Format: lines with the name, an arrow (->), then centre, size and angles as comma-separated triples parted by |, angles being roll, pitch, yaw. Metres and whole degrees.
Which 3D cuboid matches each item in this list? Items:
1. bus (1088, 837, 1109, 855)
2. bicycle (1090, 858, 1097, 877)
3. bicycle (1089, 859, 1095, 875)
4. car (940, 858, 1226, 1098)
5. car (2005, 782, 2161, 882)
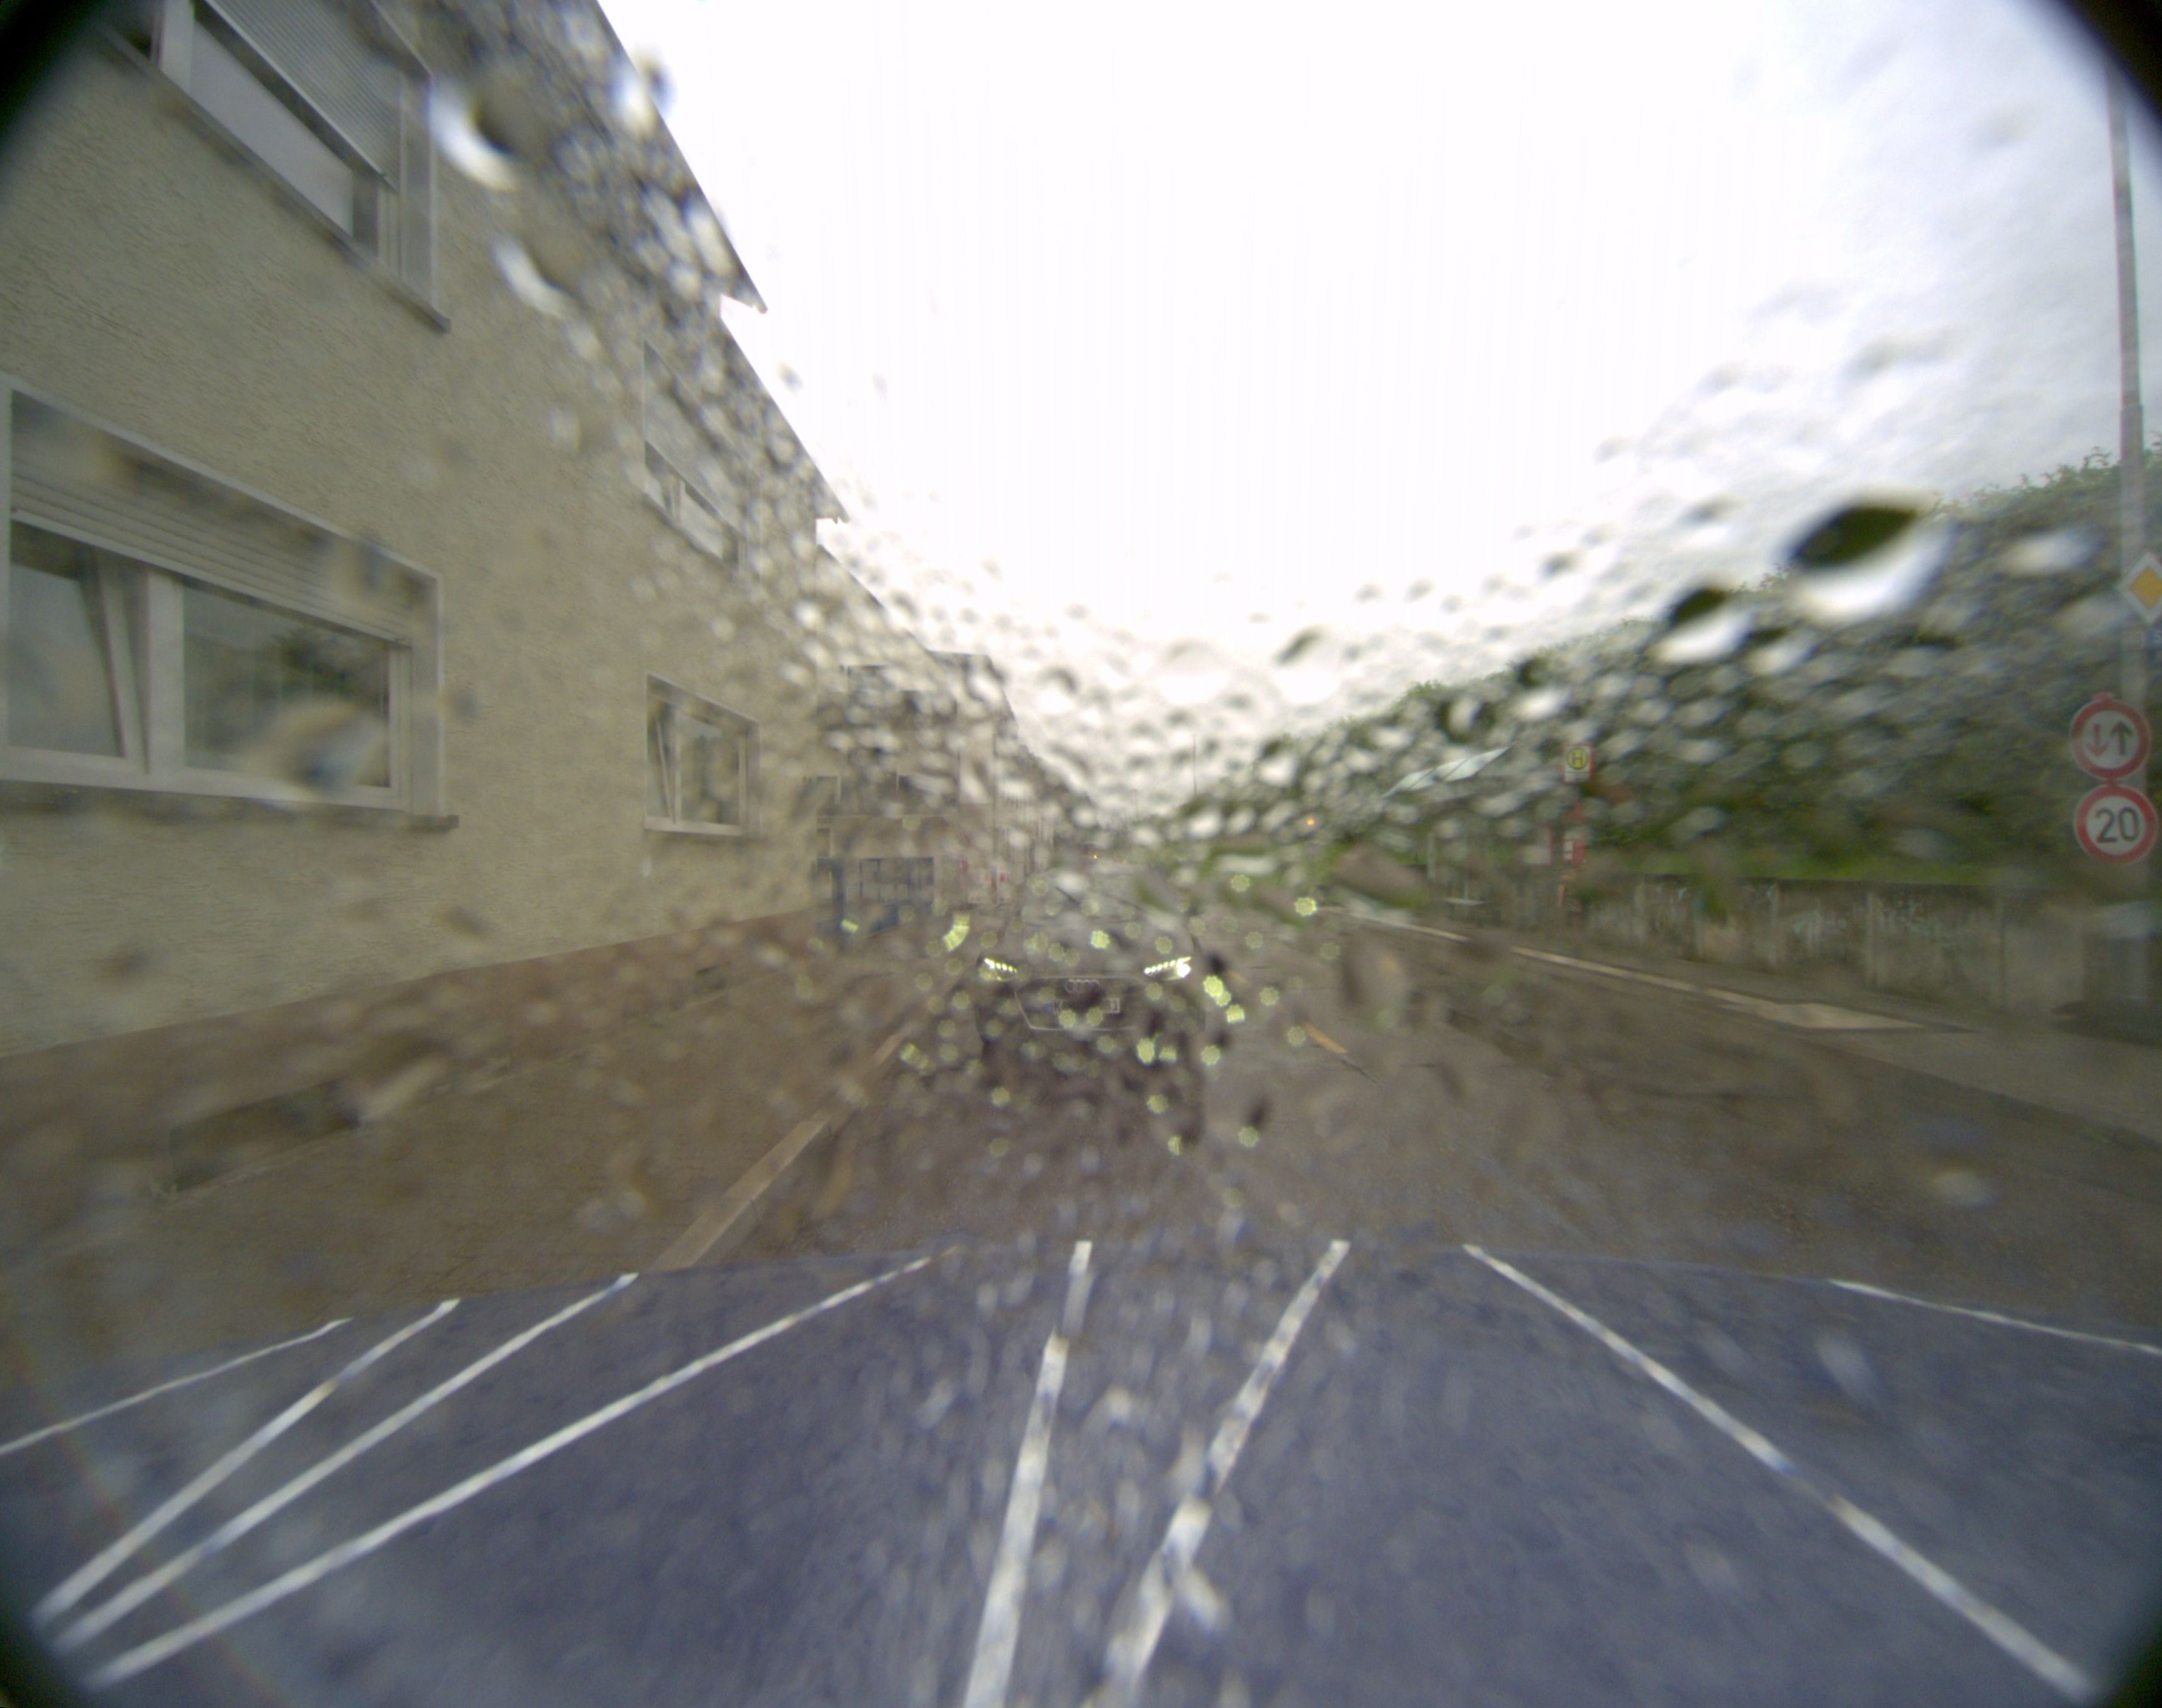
bus -> 3.102, -1.460, 132.316 | 2.684, 2.988, 14.549 | 1, 1, 5
bicycle -> 0.782, 0.814, 46.612 | 0.407, 1.137, 1.221 | 1, 1, 2
bicycle -> 0.710, 0.835, 48.847 | 0.407, 1.023, 1.221 | 1, 1, 2
car -> 0.119, 0.818, 7.235 | 1.851, 1.444, 4.532 | 1, 1, 3
car -> 15.791, -0.309, 10.129 | 1.749, 1.382, 4.220 | -2, 3, 0
